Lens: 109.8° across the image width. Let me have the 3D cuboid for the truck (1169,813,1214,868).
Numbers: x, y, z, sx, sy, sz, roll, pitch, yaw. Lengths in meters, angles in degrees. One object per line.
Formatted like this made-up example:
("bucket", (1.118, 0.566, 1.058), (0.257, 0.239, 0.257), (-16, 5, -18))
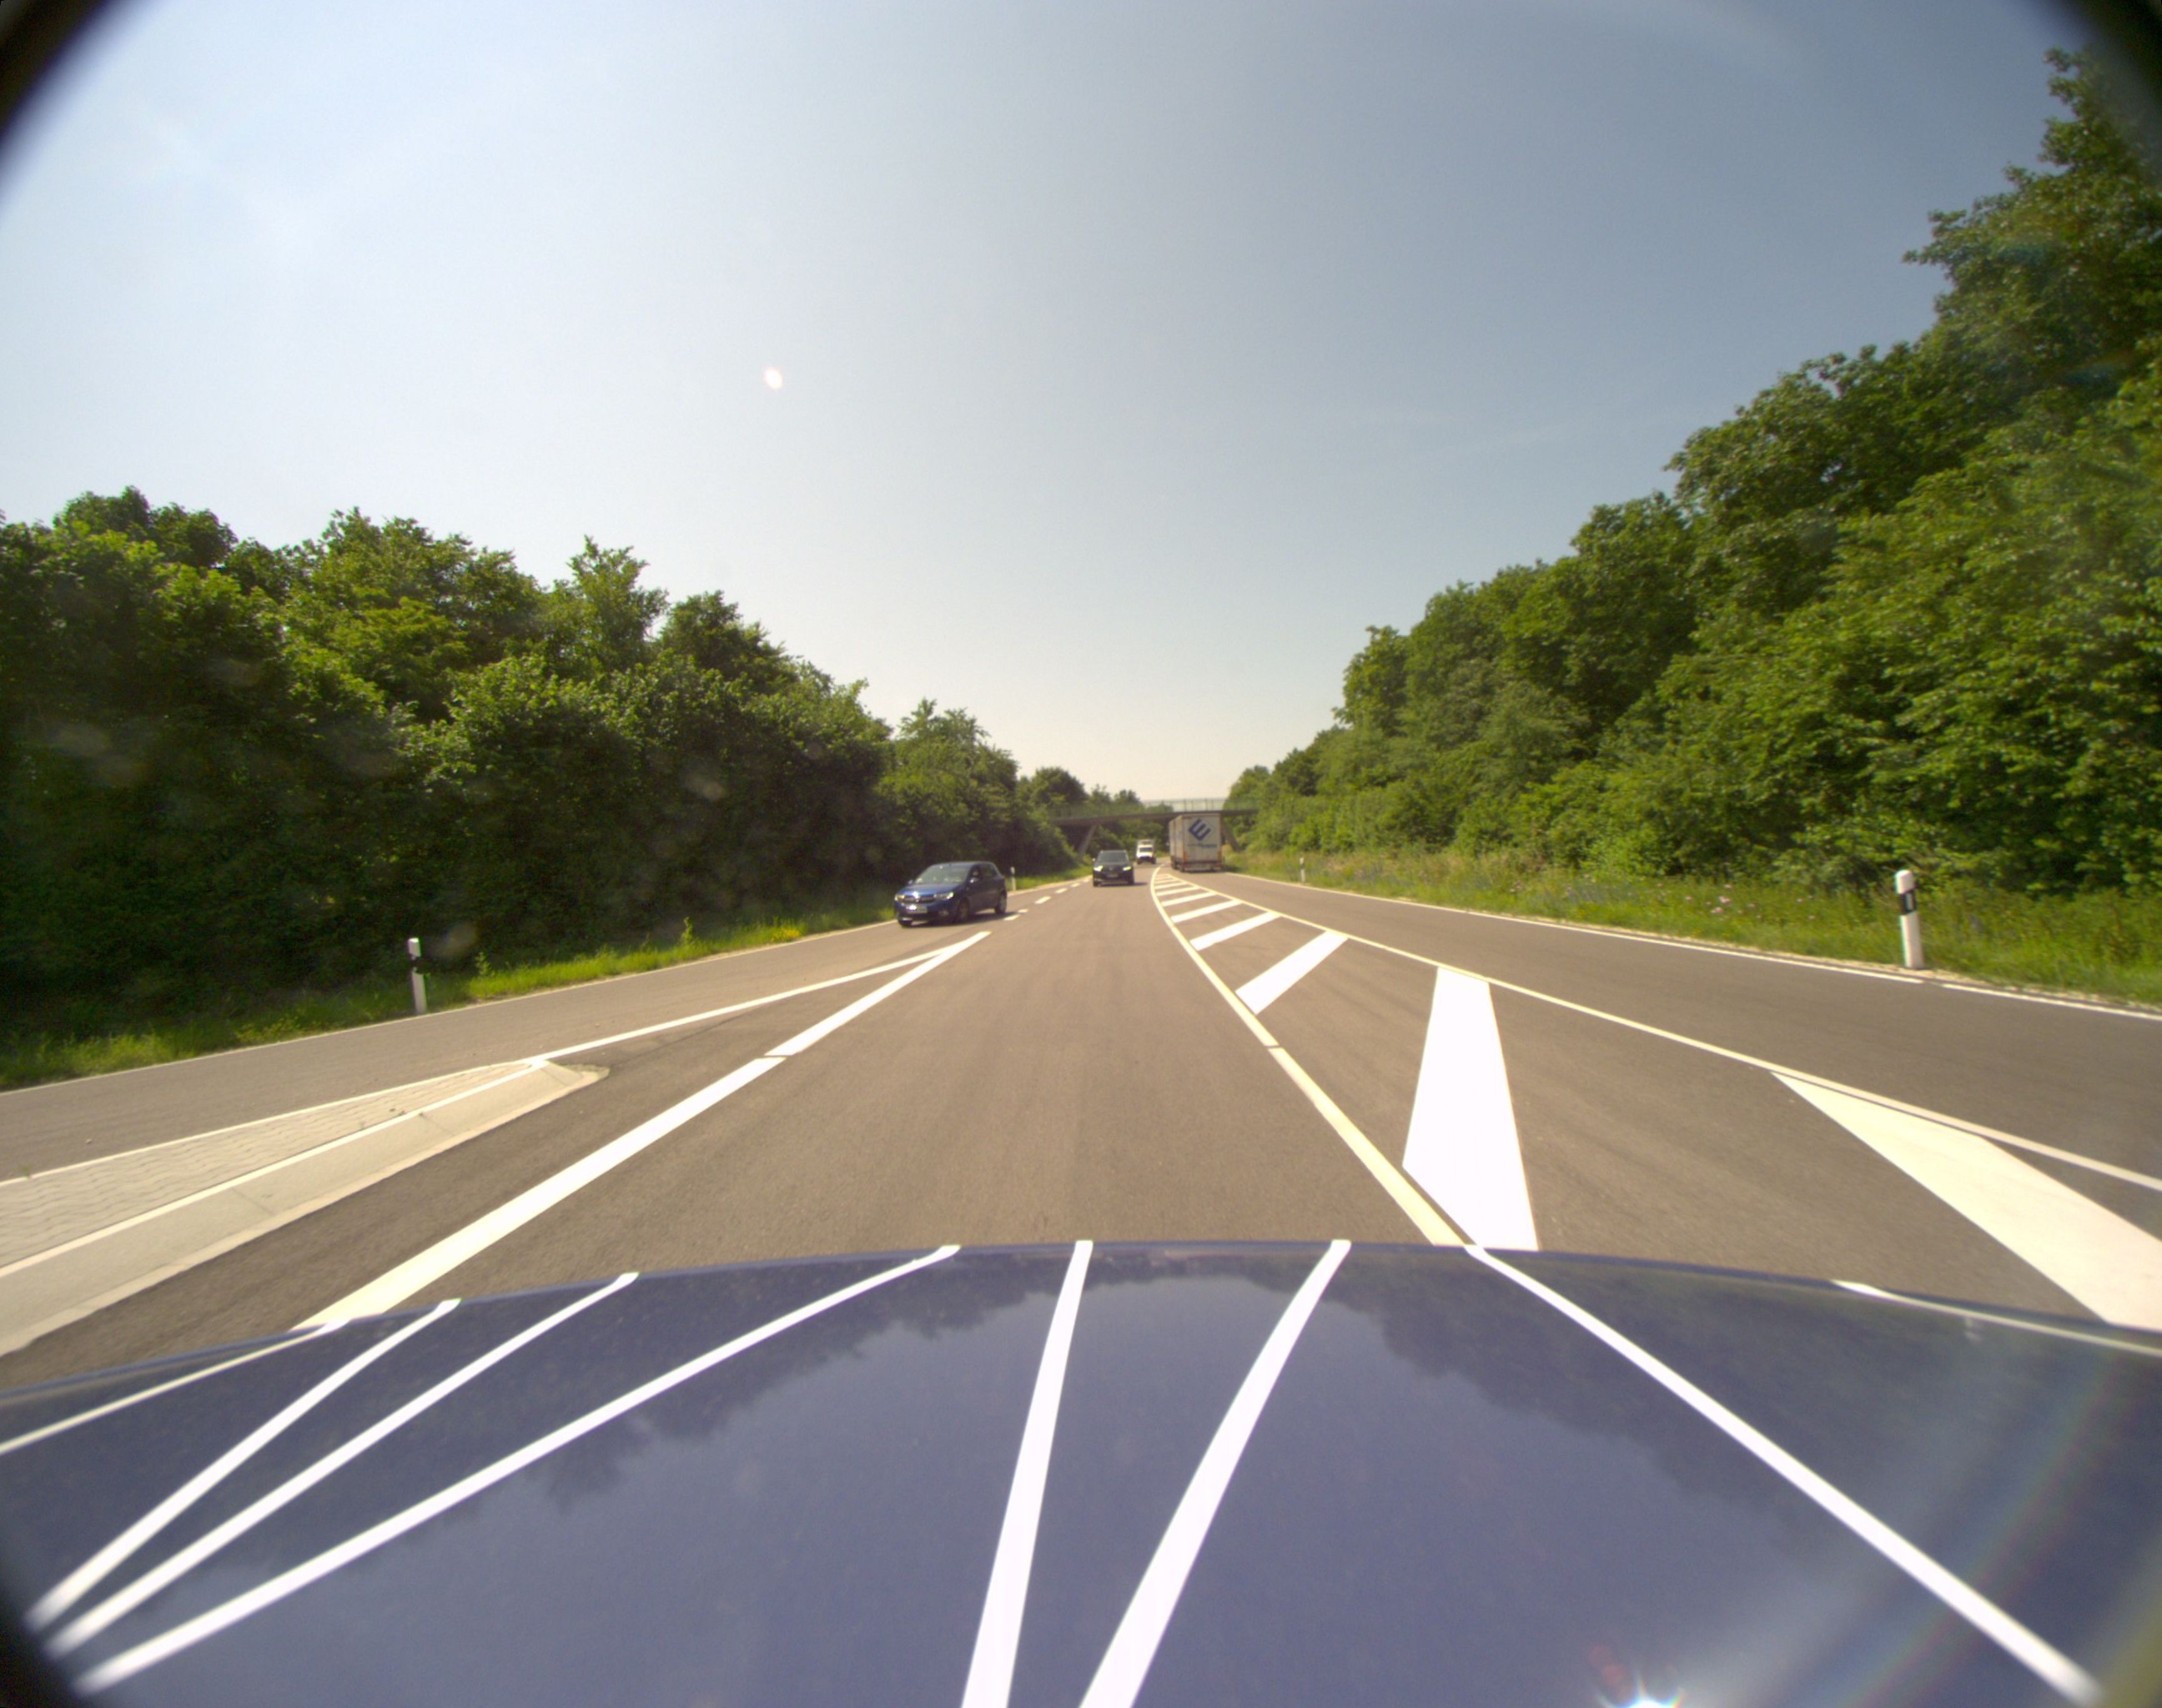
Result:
("truck", (9.102, -1.083, 63.816), (2.804, 4.072, 11.066), (-3, 0, 4))

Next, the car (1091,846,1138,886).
("car", (1.703, 0.523, 36.802), (1.923, 1.711, 5.480), (-2, 1, 6))

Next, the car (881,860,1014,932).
("car", (-3.351, 1.023, 19.909), (1.806, 1.532, 3.949), (-3, 1, 16))

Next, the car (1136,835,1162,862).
("car", (8.217, -0.695, 91.413), (2.590, 3.047, 6.885), (-2, 1, 9))

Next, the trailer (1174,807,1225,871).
("trailer", (8.371, -1.005, 54.678), (2.834, 4.072, 9.003), (-3, 0, 4))
